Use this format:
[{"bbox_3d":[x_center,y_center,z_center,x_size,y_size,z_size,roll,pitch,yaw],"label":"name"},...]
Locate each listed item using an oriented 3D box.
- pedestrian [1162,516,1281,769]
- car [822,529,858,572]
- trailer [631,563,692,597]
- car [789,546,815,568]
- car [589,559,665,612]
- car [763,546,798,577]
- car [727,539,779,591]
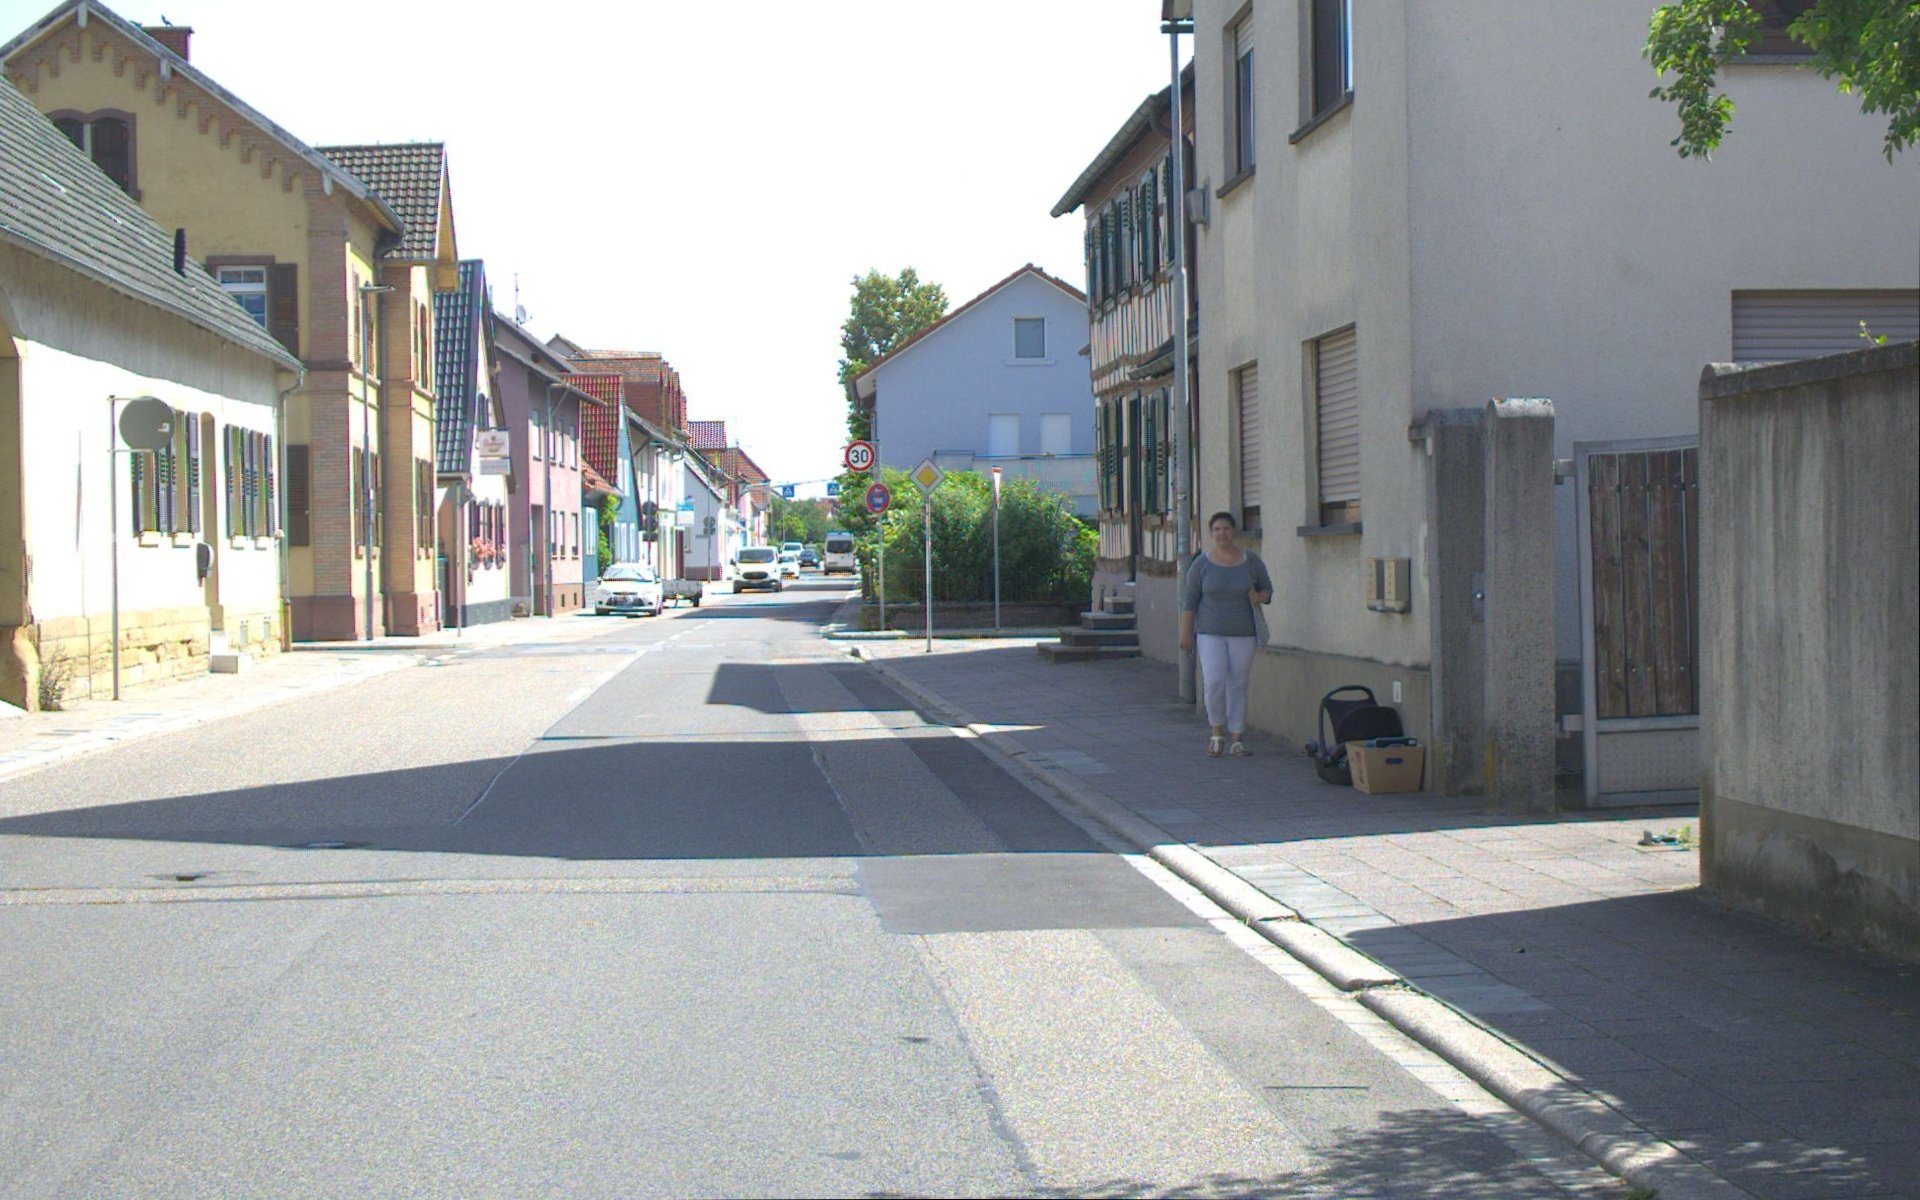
[{"bbox_3d":[1.747,0.274,23.089,0.719,1.658,0.892,-1,1,0],"label":"pedestrian"},{"bbox_3d":[-7.434,-3.053,212.859,2.017,2.559,4.001,-1,1,-4],"label":"car"},{"bbox_3d":[-10.064,-0.683,116.139,1.993,1.086,4.001,0,1,-4],"label":"trailer"},{"bbox_3d":[-11.773,-3.212,255.936,1.867,1.539,3.839,-2,1,-3],"label":"car"},{"bbox_3d":[-9.622,-0.442,99.610,1.993,1.437,4.001,-1,1,-3],"label":"car"},{"bbox_3d":[-10.307,-2.248,197.928,1.993,1.744,4.001,0,1,-3],"label":"car"},{"bbox_3d":[-8.902,-1.491,147.575,2.158,2.073,4.000,-1,-1,-4],"label":"car"}]
